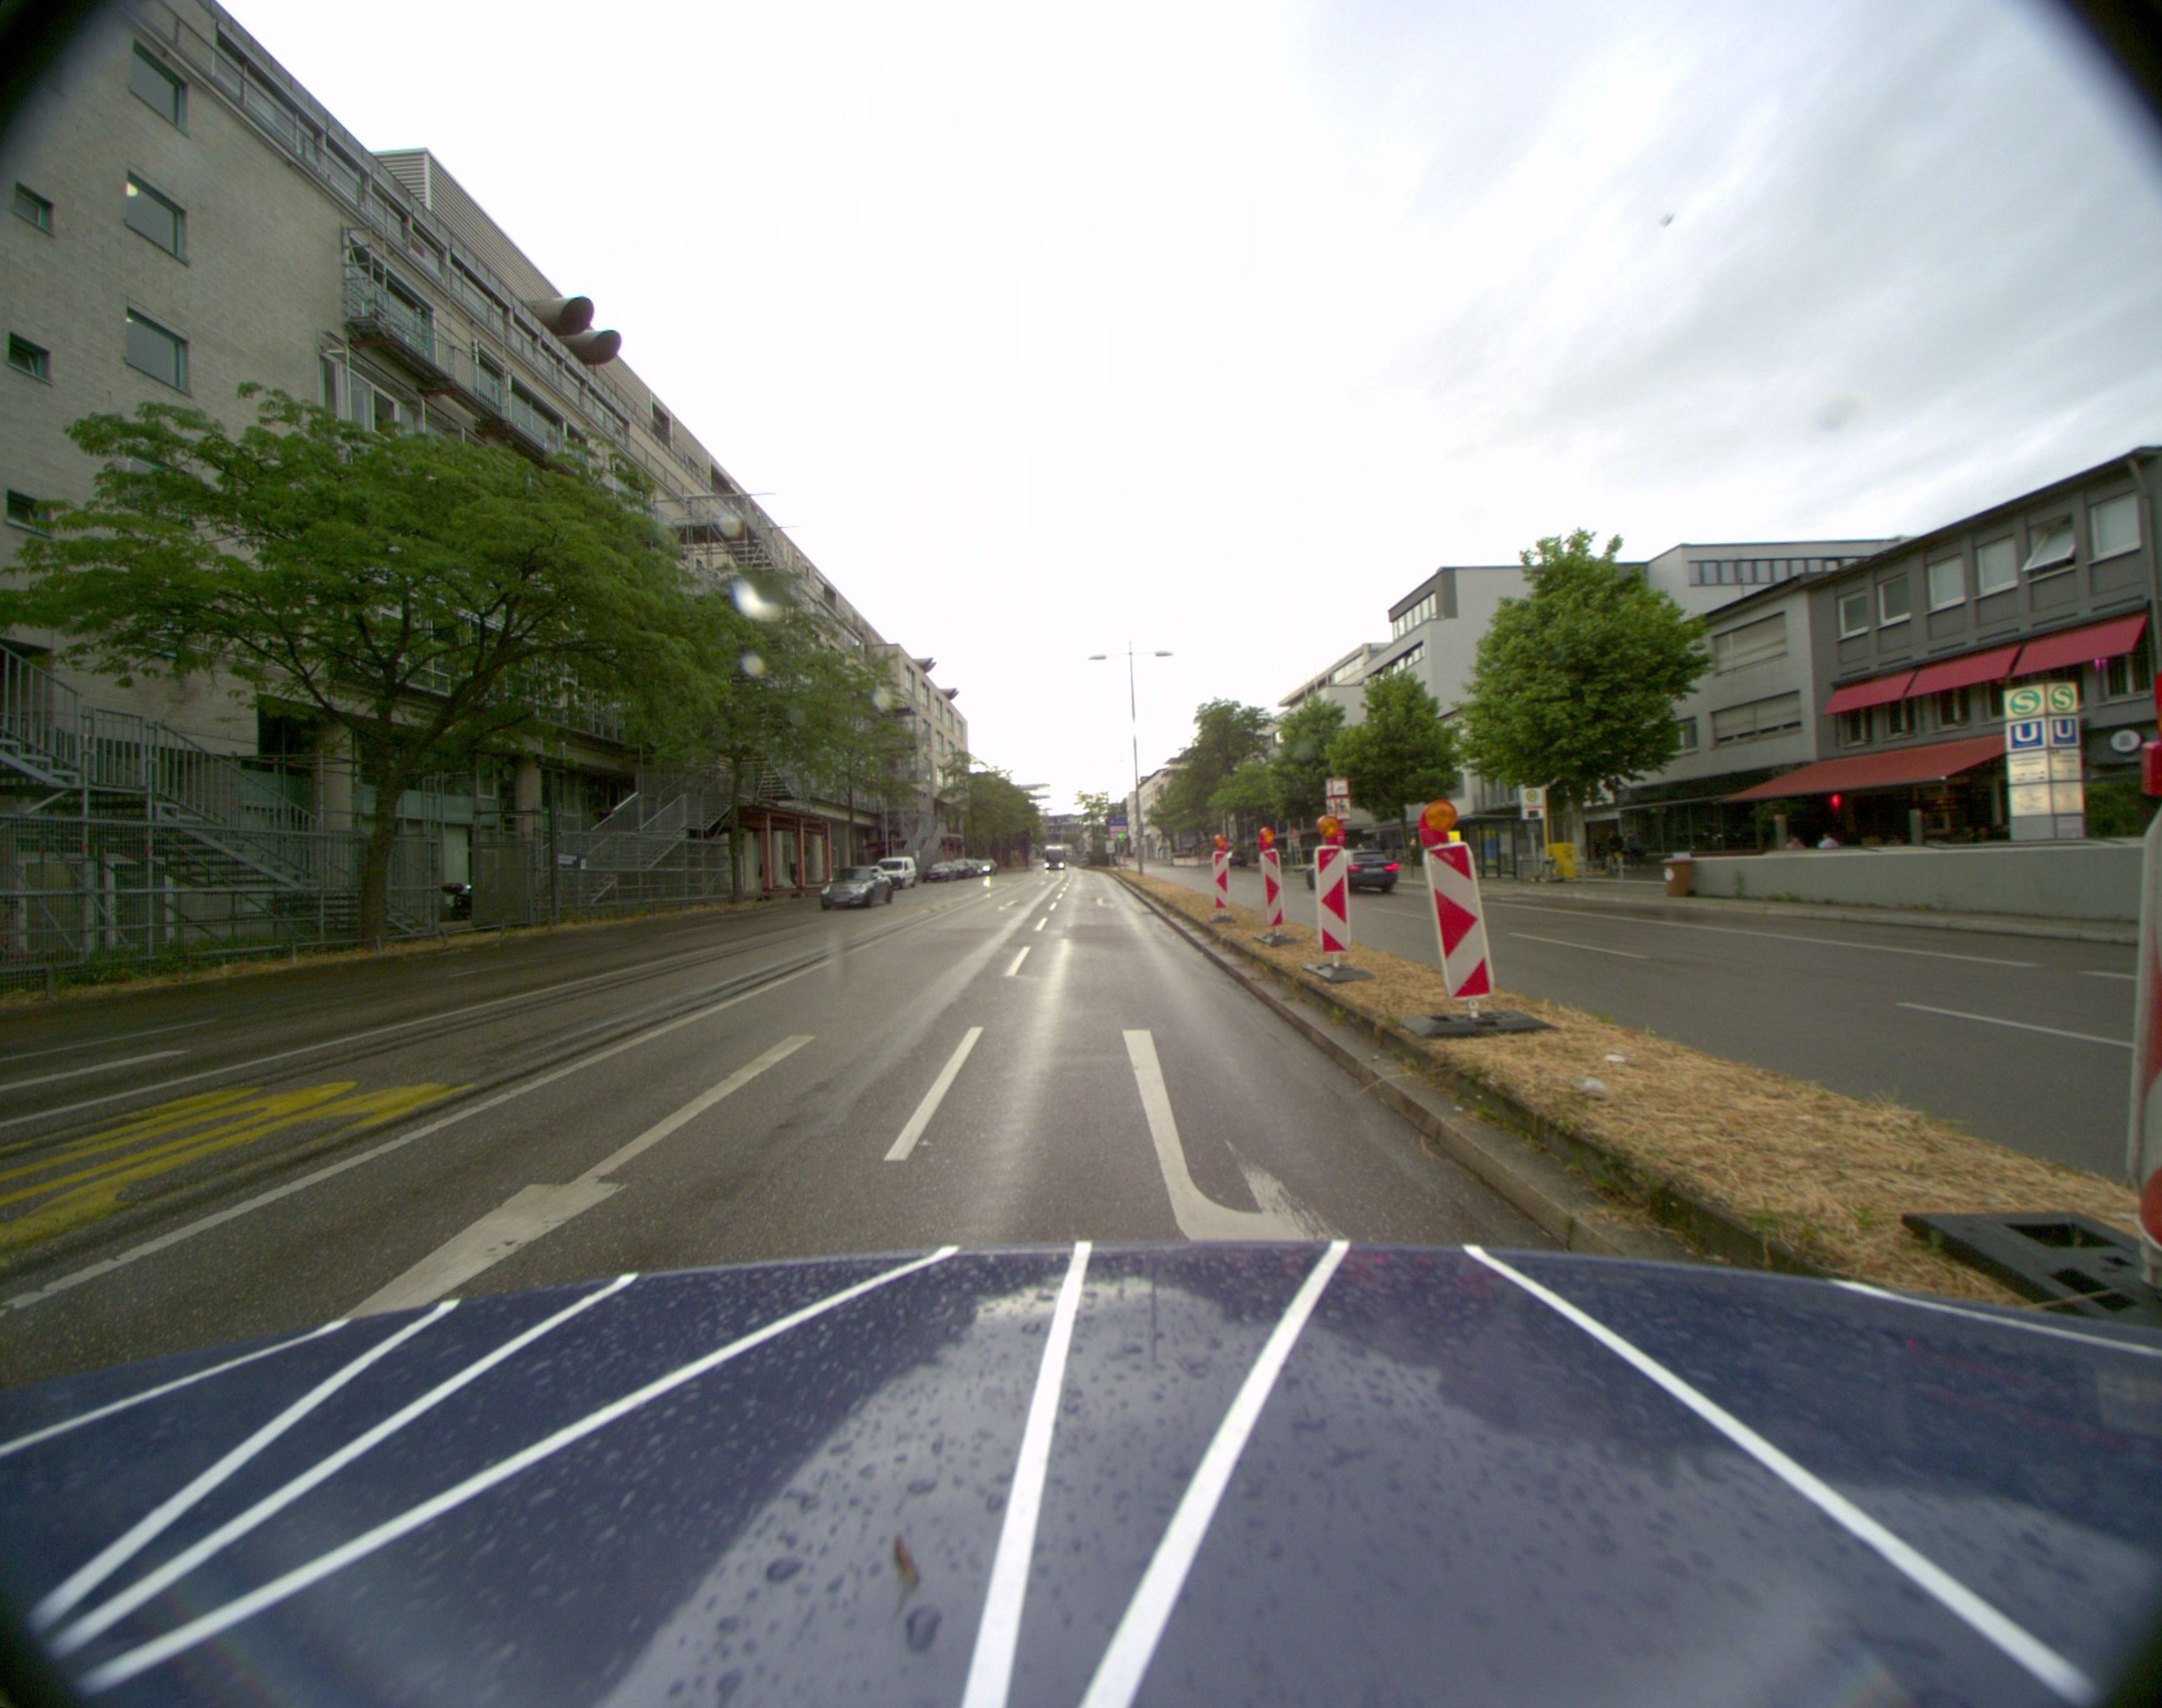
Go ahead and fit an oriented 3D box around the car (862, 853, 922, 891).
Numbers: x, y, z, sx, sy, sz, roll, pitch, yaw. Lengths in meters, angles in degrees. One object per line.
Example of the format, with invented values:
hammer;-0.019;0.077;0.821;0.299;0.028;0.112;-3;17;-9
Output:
car;-10.523;0.957;42.641;2.213;1.895;4.329;-2;1;0

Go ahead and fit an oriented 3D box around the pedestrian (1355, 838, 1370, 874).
pedestrian;14.537;0.099;39.257;0.575;1.815;0.580;-2;1;7

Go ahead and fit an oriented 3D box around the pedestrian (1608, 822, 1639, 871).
pedestrian;22.750;-0.300;31.864;0.774;2.002;0.767;-2;1;8

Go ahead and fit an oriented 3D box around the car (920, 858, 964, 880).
car;-9.889;1.056;54.406;2.147;1.329;4.816;-2;1;0

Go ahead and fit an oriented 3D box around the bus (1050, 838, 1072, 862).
bus;-3.094;-0.673;118.656;2.890;3.420;9.709;-2;1;1

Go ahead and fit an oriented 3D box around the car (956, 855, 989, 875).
car;-9.462;0.939;66.674;2.147;1.552;4.816;-2;1;0

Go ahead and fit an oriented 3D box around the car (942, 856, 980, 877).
car;-9.622;0.980;61.205;2.147;1.486;4.816;-2;1;0

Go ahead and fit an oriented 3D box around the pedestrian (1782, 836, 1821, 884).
pedestrian;23.345;0.198;24.619;0.669;1.520;0.611;-2;1;3

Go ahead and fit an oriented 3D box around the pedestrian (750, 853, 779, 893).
pedestrian;-16.596;0.993;39.883;1.009;2.002;1.039;-2;1;1

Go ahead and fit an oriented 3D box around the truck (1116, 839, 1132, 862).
truck;7.105;-0.561;127.100;1.999;3.557;7.572;-2;0;-2

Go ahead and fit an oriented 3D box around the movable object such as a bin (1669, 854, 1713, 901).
movable object such as a bin;14.566;0.552;18.154;0.507;1.094;0.660;-2;1;-2

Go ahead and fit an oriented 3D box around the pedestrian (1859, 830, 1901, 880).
pedestrian;24.995;0.033;23.778;0.669;1.520;0.611;-2;1;3

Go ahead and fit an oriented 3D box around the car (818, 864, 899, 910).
car;-7.726;1.099;26.685;1.744;1.447;3.722;-2;-1;-1

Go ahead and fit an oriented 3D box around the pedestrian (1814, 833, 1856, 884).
pedestrian;23.221;0.130;23.404;0.669;1.520;0.611;-2;1;3

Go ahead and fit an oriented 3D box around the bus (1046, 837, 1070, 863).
bus;-3.268;-0.558;108.921;2.890;3.430;9.756;-2;1;1

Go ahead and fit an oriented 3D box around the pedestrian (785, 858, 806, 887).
pedestrian;-18.346;1.199;48.864;1.010;1.789;0.846;-2;1;-3

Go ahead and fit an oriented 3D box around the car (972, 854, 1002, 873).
car;-8.893;0.850;72.410;2.147;1.637;4.816;-2;1;0

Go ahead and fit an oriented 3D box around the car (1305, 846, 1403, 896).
car;9.480;0.514;26.776;1.692;1.545;4.419;-2;1;-2

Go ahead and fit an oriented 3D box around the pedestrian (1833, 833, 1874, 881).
pedestrian;24.877;0.090;24.487;0.669;1.520;0.611;-2;1;4

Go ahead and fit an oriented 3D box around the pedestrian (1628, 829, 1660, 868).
pedestrian;23.584;-0.230;31.832;0.774;1.556;0.767;-2;1;8
